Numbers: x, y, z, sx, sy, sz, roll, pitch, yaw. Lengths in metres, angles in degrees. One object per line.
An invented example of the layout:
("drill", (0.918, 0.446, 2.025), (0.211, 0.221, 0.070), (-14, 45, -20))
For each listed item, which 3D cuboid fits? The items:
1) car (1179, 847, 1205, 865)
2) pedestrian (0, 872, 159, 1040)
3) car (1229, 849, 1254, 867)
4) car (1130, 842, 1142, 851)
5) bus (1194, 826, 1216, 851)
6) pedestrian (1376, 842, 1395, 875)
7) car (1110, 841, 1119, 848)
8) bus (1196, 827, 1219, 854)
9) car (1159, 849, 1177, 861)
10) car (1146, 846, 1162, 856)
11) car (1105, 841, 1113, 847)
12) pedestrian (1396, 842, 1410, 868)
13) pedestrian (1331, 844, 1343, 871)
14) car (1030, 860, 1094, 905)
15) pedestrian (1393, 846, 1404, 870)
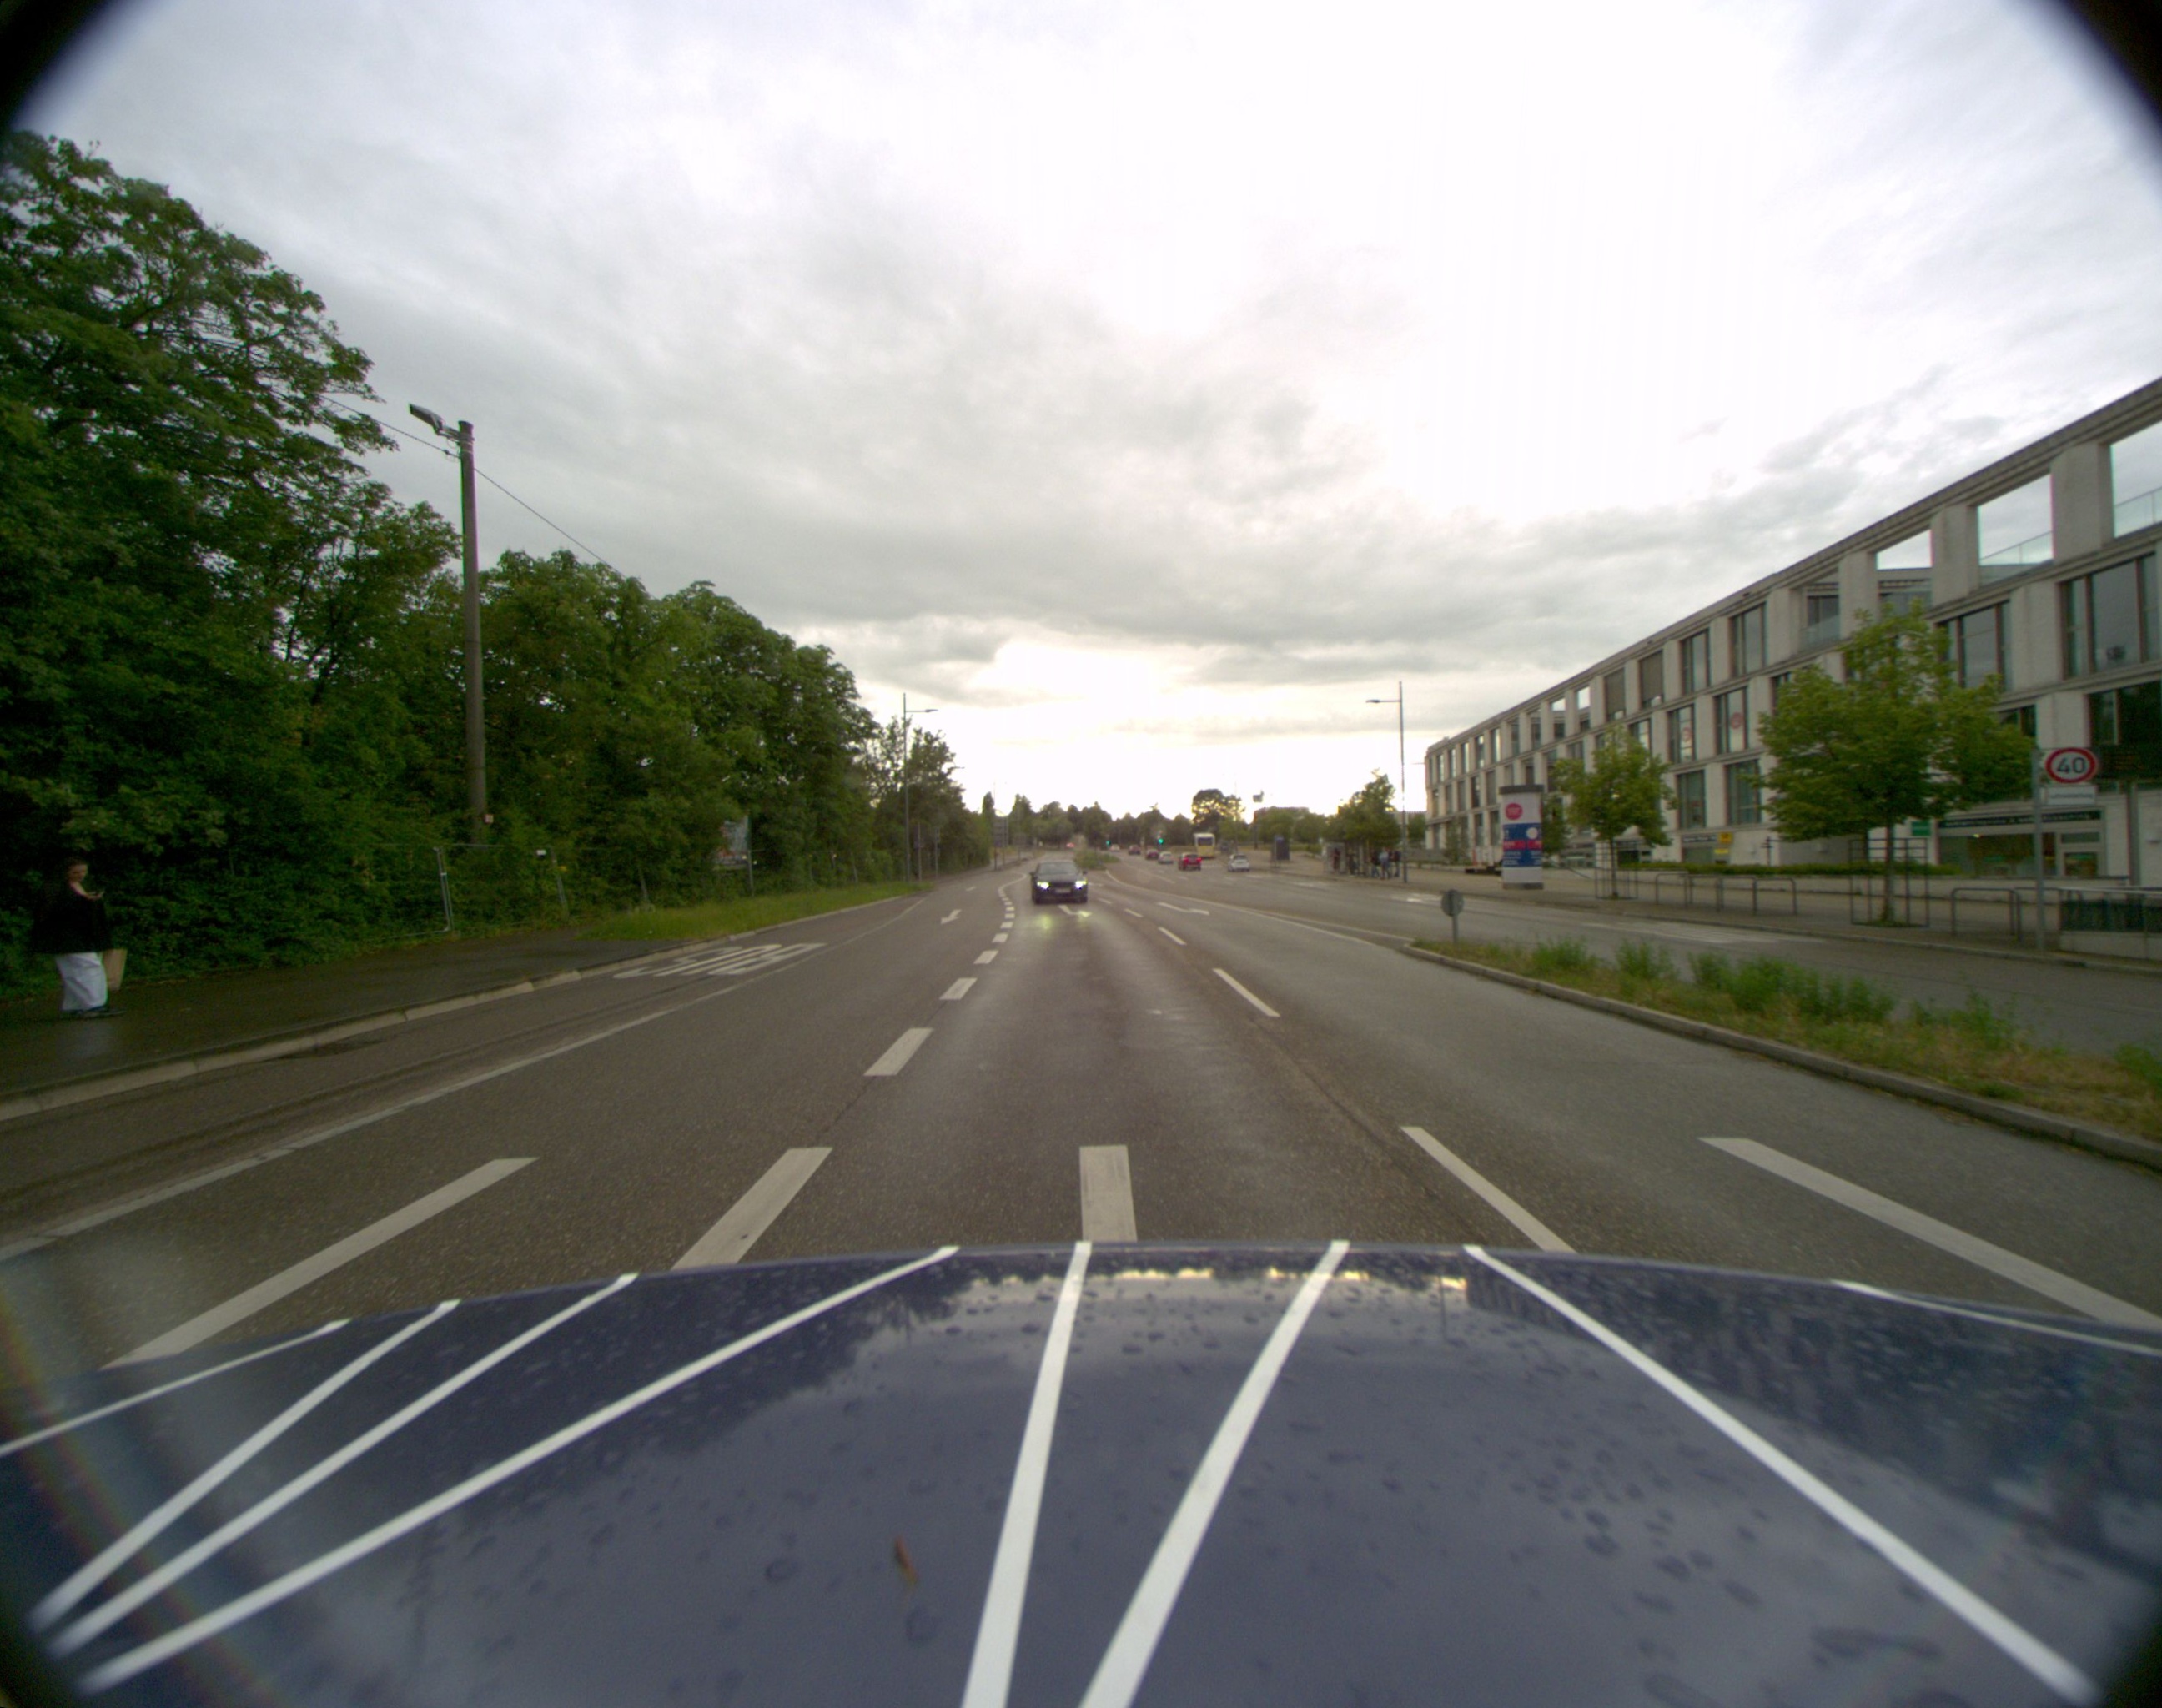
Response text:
("car", (10.910, 0.171, 74.969), (1.858, 1.673, 4.737), (1, 0, 0))
("pedestrian", (-10.524, 1.027, 7.971), (0.677, 1.648, 0.792), (-1, 1, -5))
("car", (14.599, 0.339, 69.409), (1.618, 1.500, 2.971), (-3, 2, 0))
("car", (9.786, -1.390, 135.068), (1.836, 1.563, 4.592), (1, 1, 0))
("bus", (18.838, -2.422, 115.804), (2.827, 3.453, 9.975), (-3, 2, 8))
("pedestrian", (17.158, 0.268, 42.812), (0.755, 1.832, 0.746), (-1, 1, 2))
("car", (7.280, -2.173, 166.741), (1.878, 1.422, 4.174), (1, 1, 0))
("bus", (17.683, -2.020, 106.811), (2.827, 3.453, 8.232), (-3, 2, 8))
("car", (10.884, 0.152, 95.355), (1.767, 1.408, 3.878), (1, 0, 0))
("car", (10.579, -0.475, 110.571), (1.836, 1.408, 4.465), (1, 0, 0))
("car", (6.707, -2.492, 183.052), (1.851, 1.454, 3.866), (0, 1, 0))
("pedestrian", (21.964, 0.053, 51.762), (0.600, 1.752, 0.857), (-1, 1, 3))
("pedestrian", (17.215, 0.230, 51.102), (0.508, 1.832, 0.755), (-1, 1, -1))
("car", (-0.743, 0.936, 26.734), (1.990, 1.391, 4.174), (-2, 0, -4))
("pedestrian", (19.282, 0.245, 46.121), (0.427, 1.443, 0.510), (-1, 1, 1))
